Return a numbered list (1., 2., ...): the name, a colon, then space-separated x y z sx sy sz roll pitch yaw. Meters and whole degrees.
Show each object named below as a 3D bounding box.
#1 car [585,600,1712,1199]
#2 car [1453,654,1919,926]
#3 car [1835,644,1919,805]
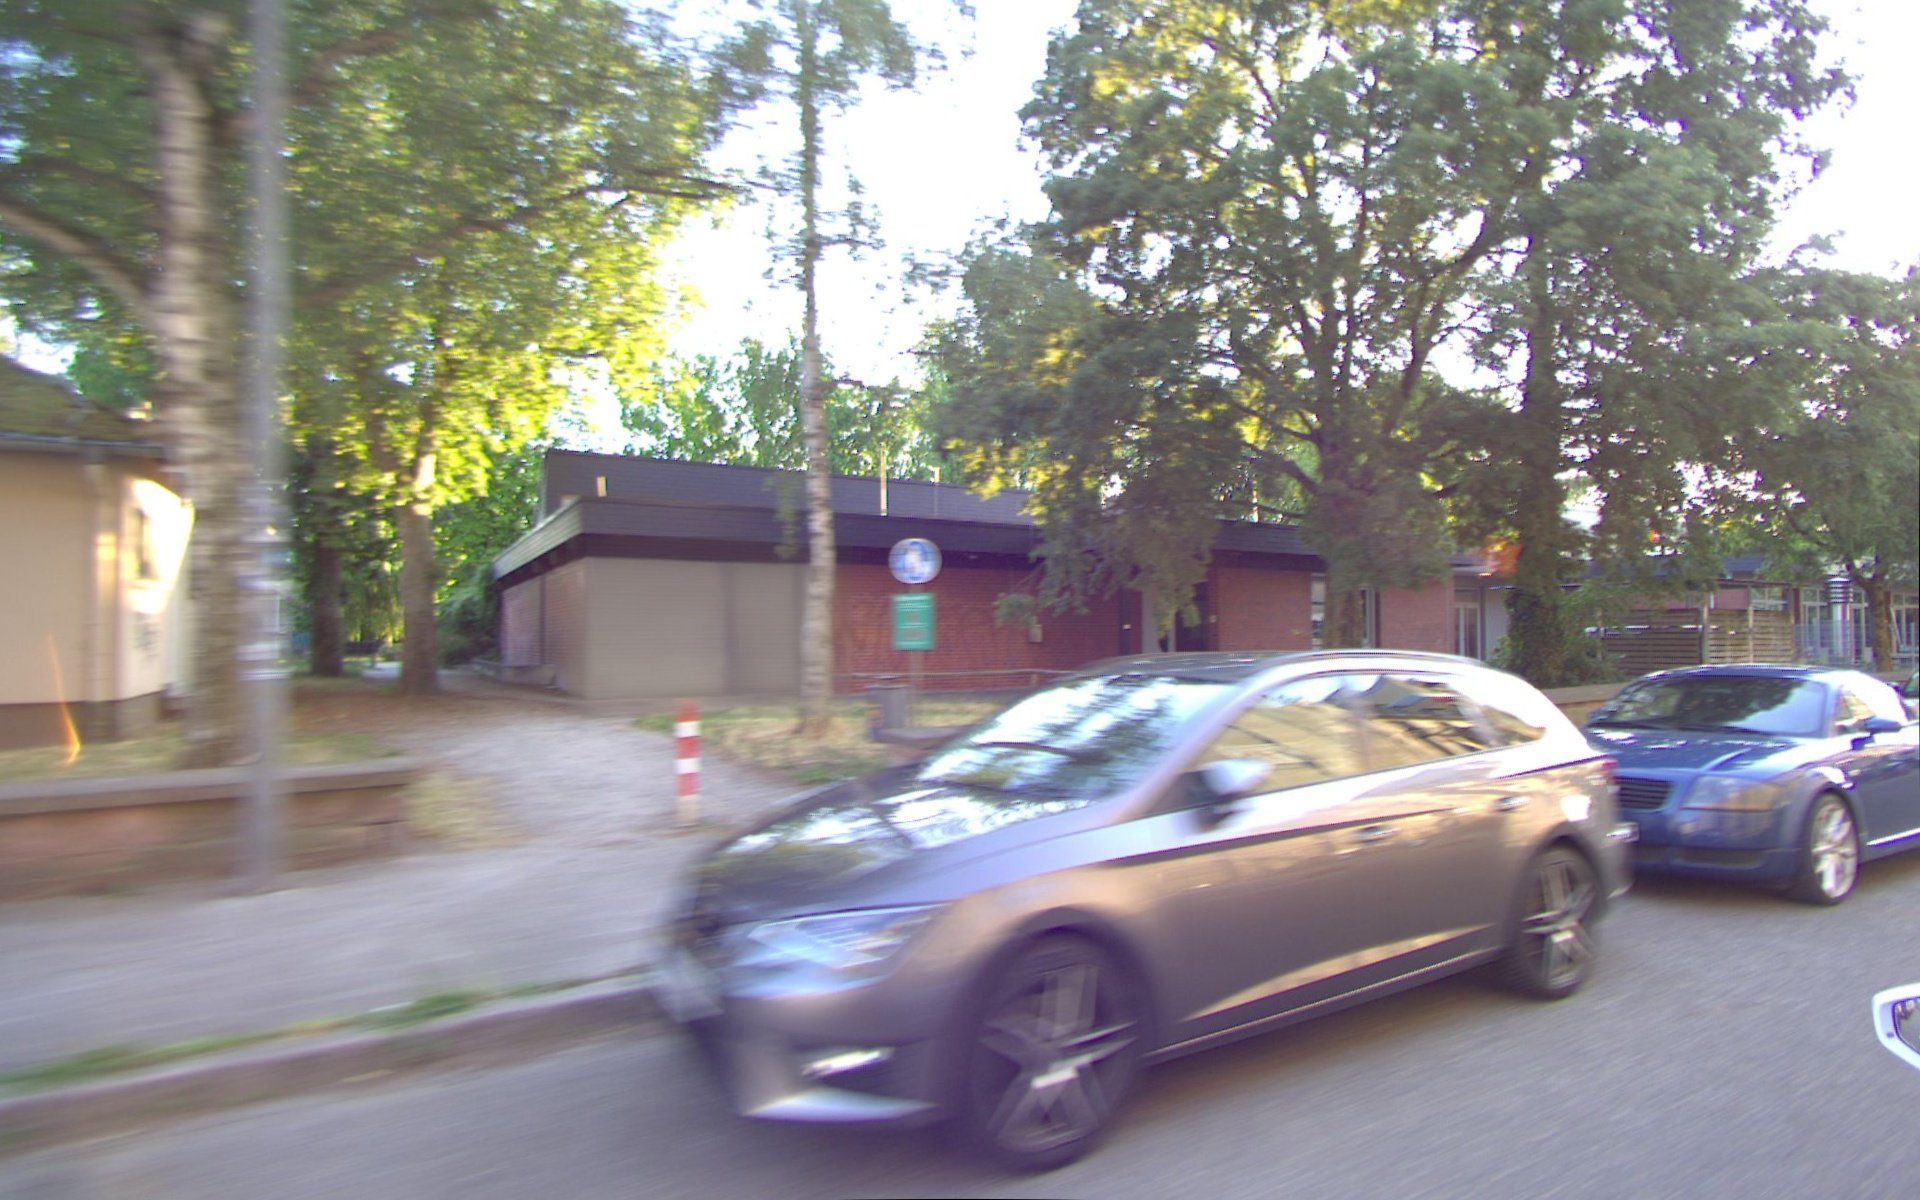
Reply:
1. car: 1.036 0.865 4.290 4.705 1.558 1.851 1 -3 -32
2. car: 5.413 1.064 6.882 4.106 1.330 1.652 1 -3 -30
3. car: 10.394 1.146 9.894 3.761 1.450 1.593 1 -5 -32
